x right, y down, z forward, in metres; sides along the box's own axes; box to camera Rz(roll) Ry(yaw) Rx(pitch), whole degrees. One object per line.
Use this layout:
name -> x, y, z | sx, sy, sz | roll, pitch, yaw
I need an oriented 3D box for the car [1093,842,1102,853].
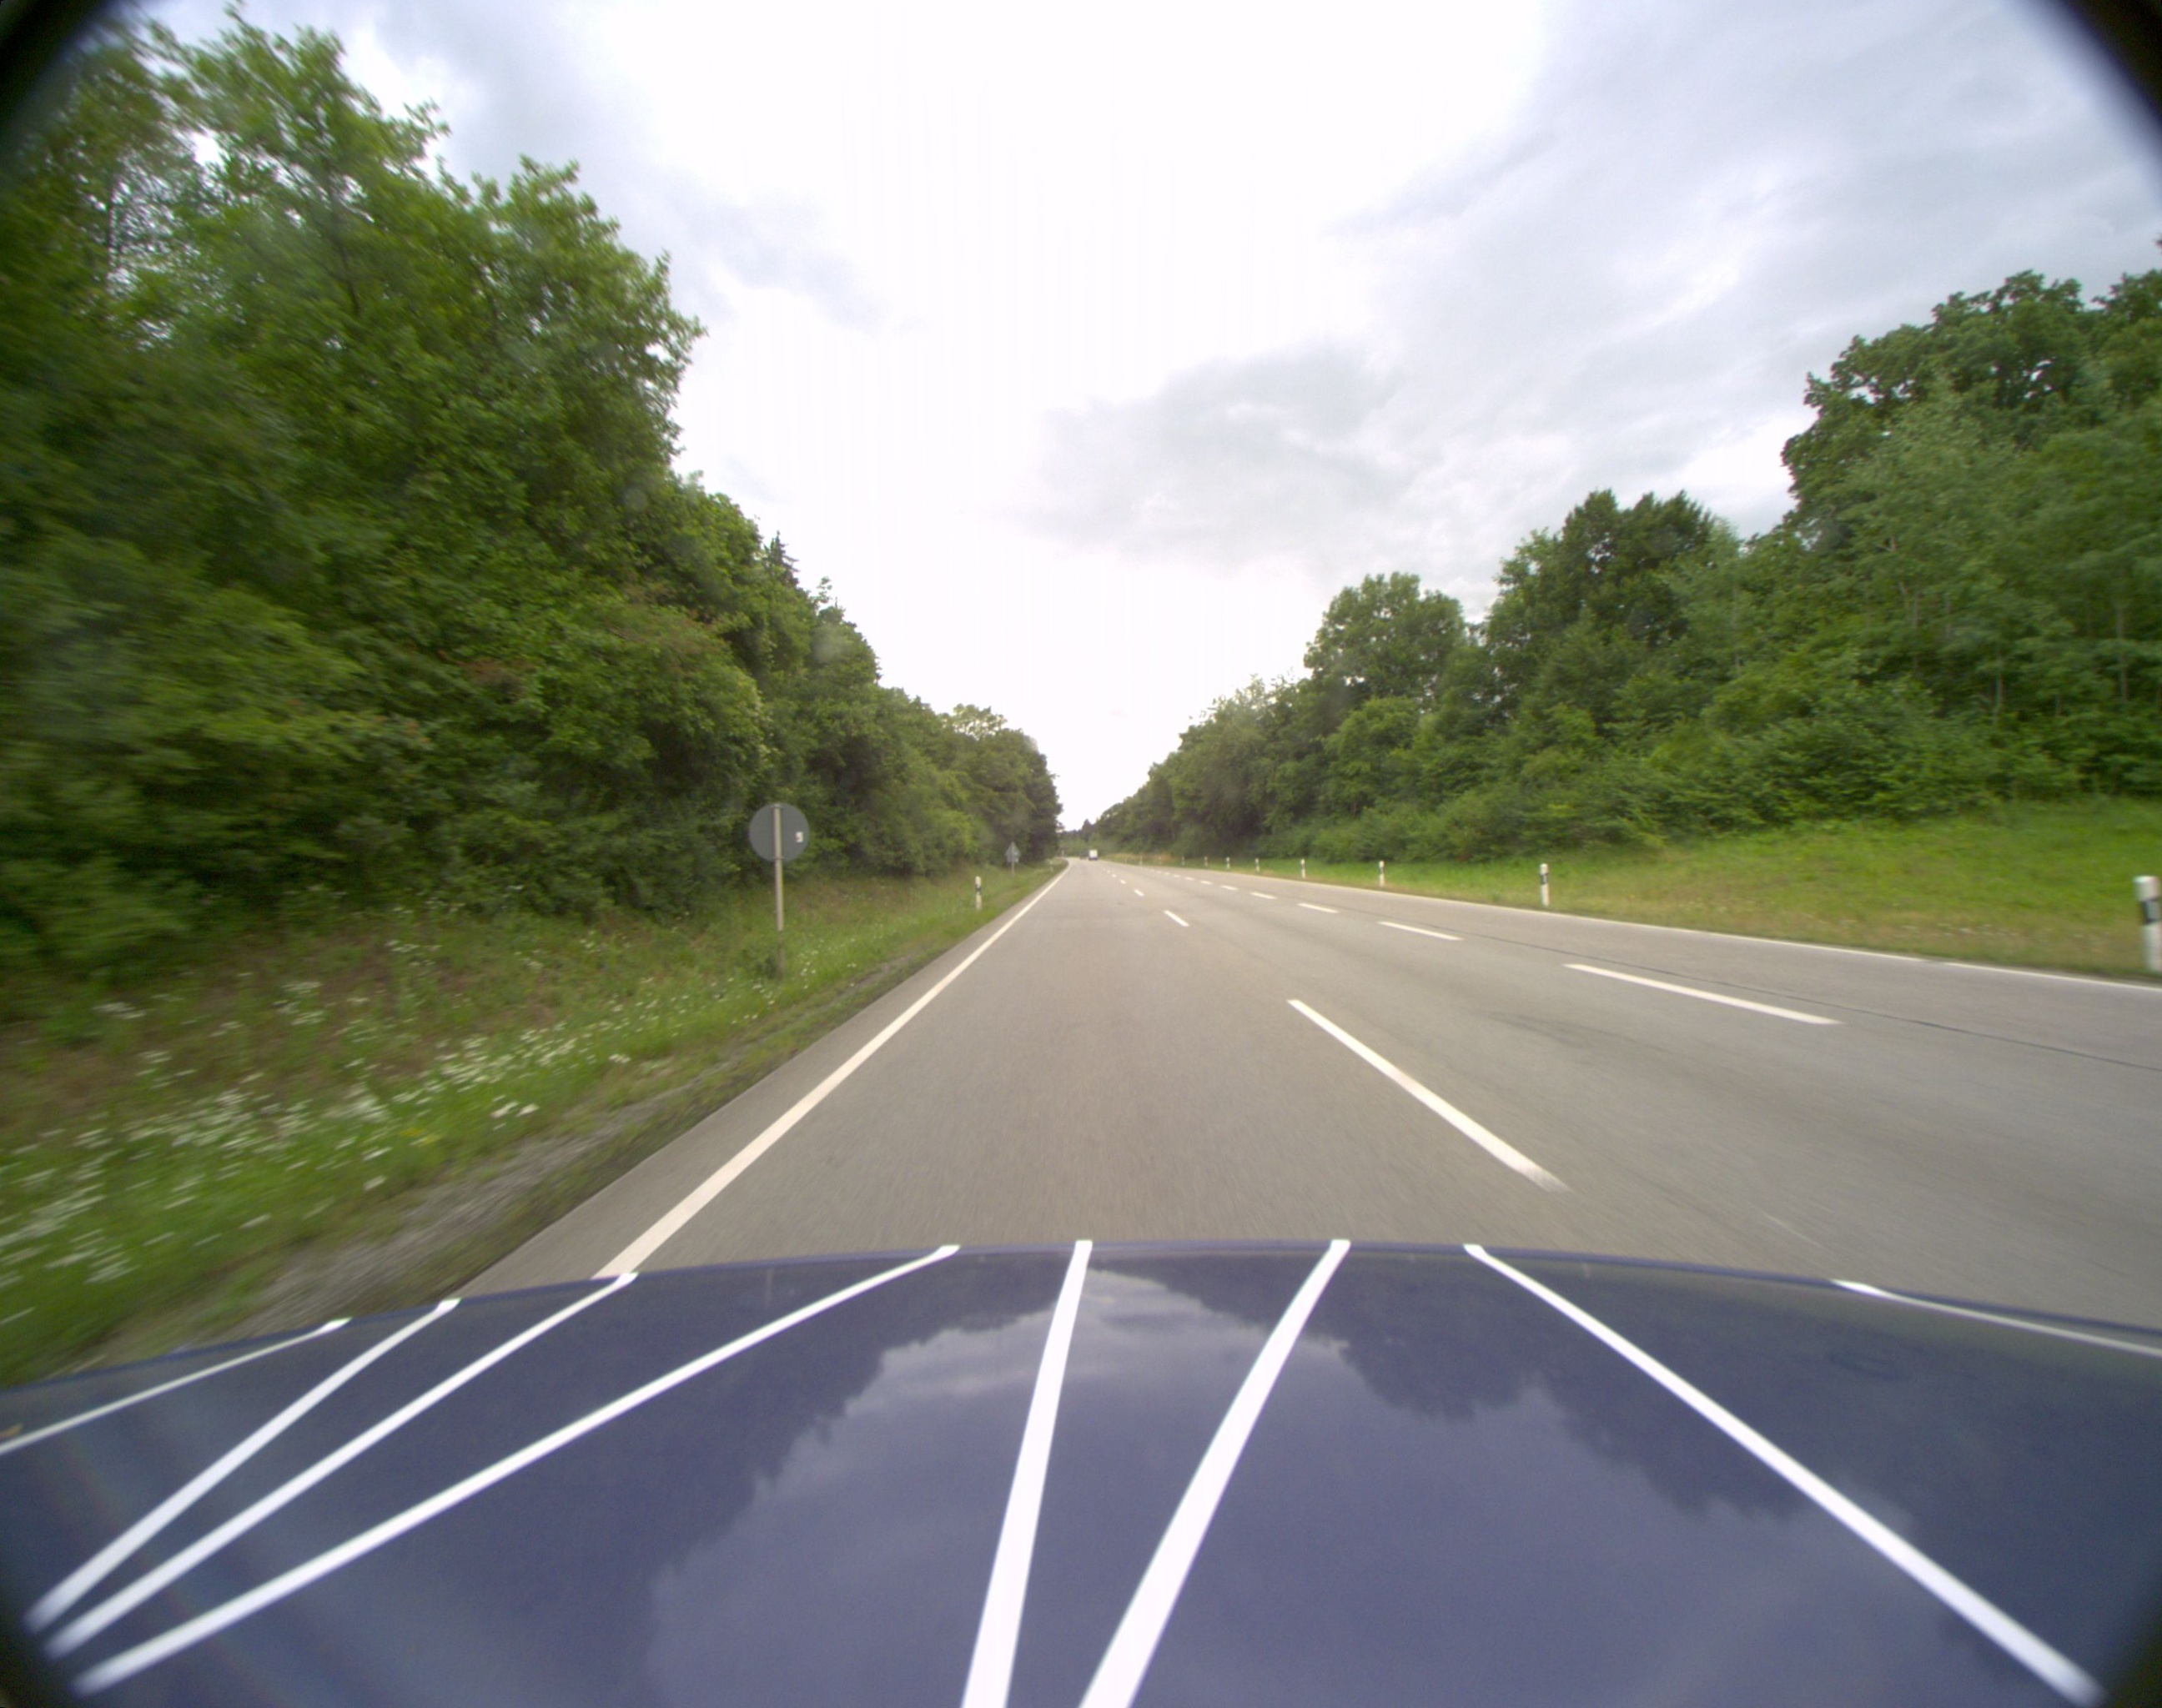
car -> 4.083, -1.640, 191.037 | 1.998, 2.681, 5.977 | -2, 1, 0
